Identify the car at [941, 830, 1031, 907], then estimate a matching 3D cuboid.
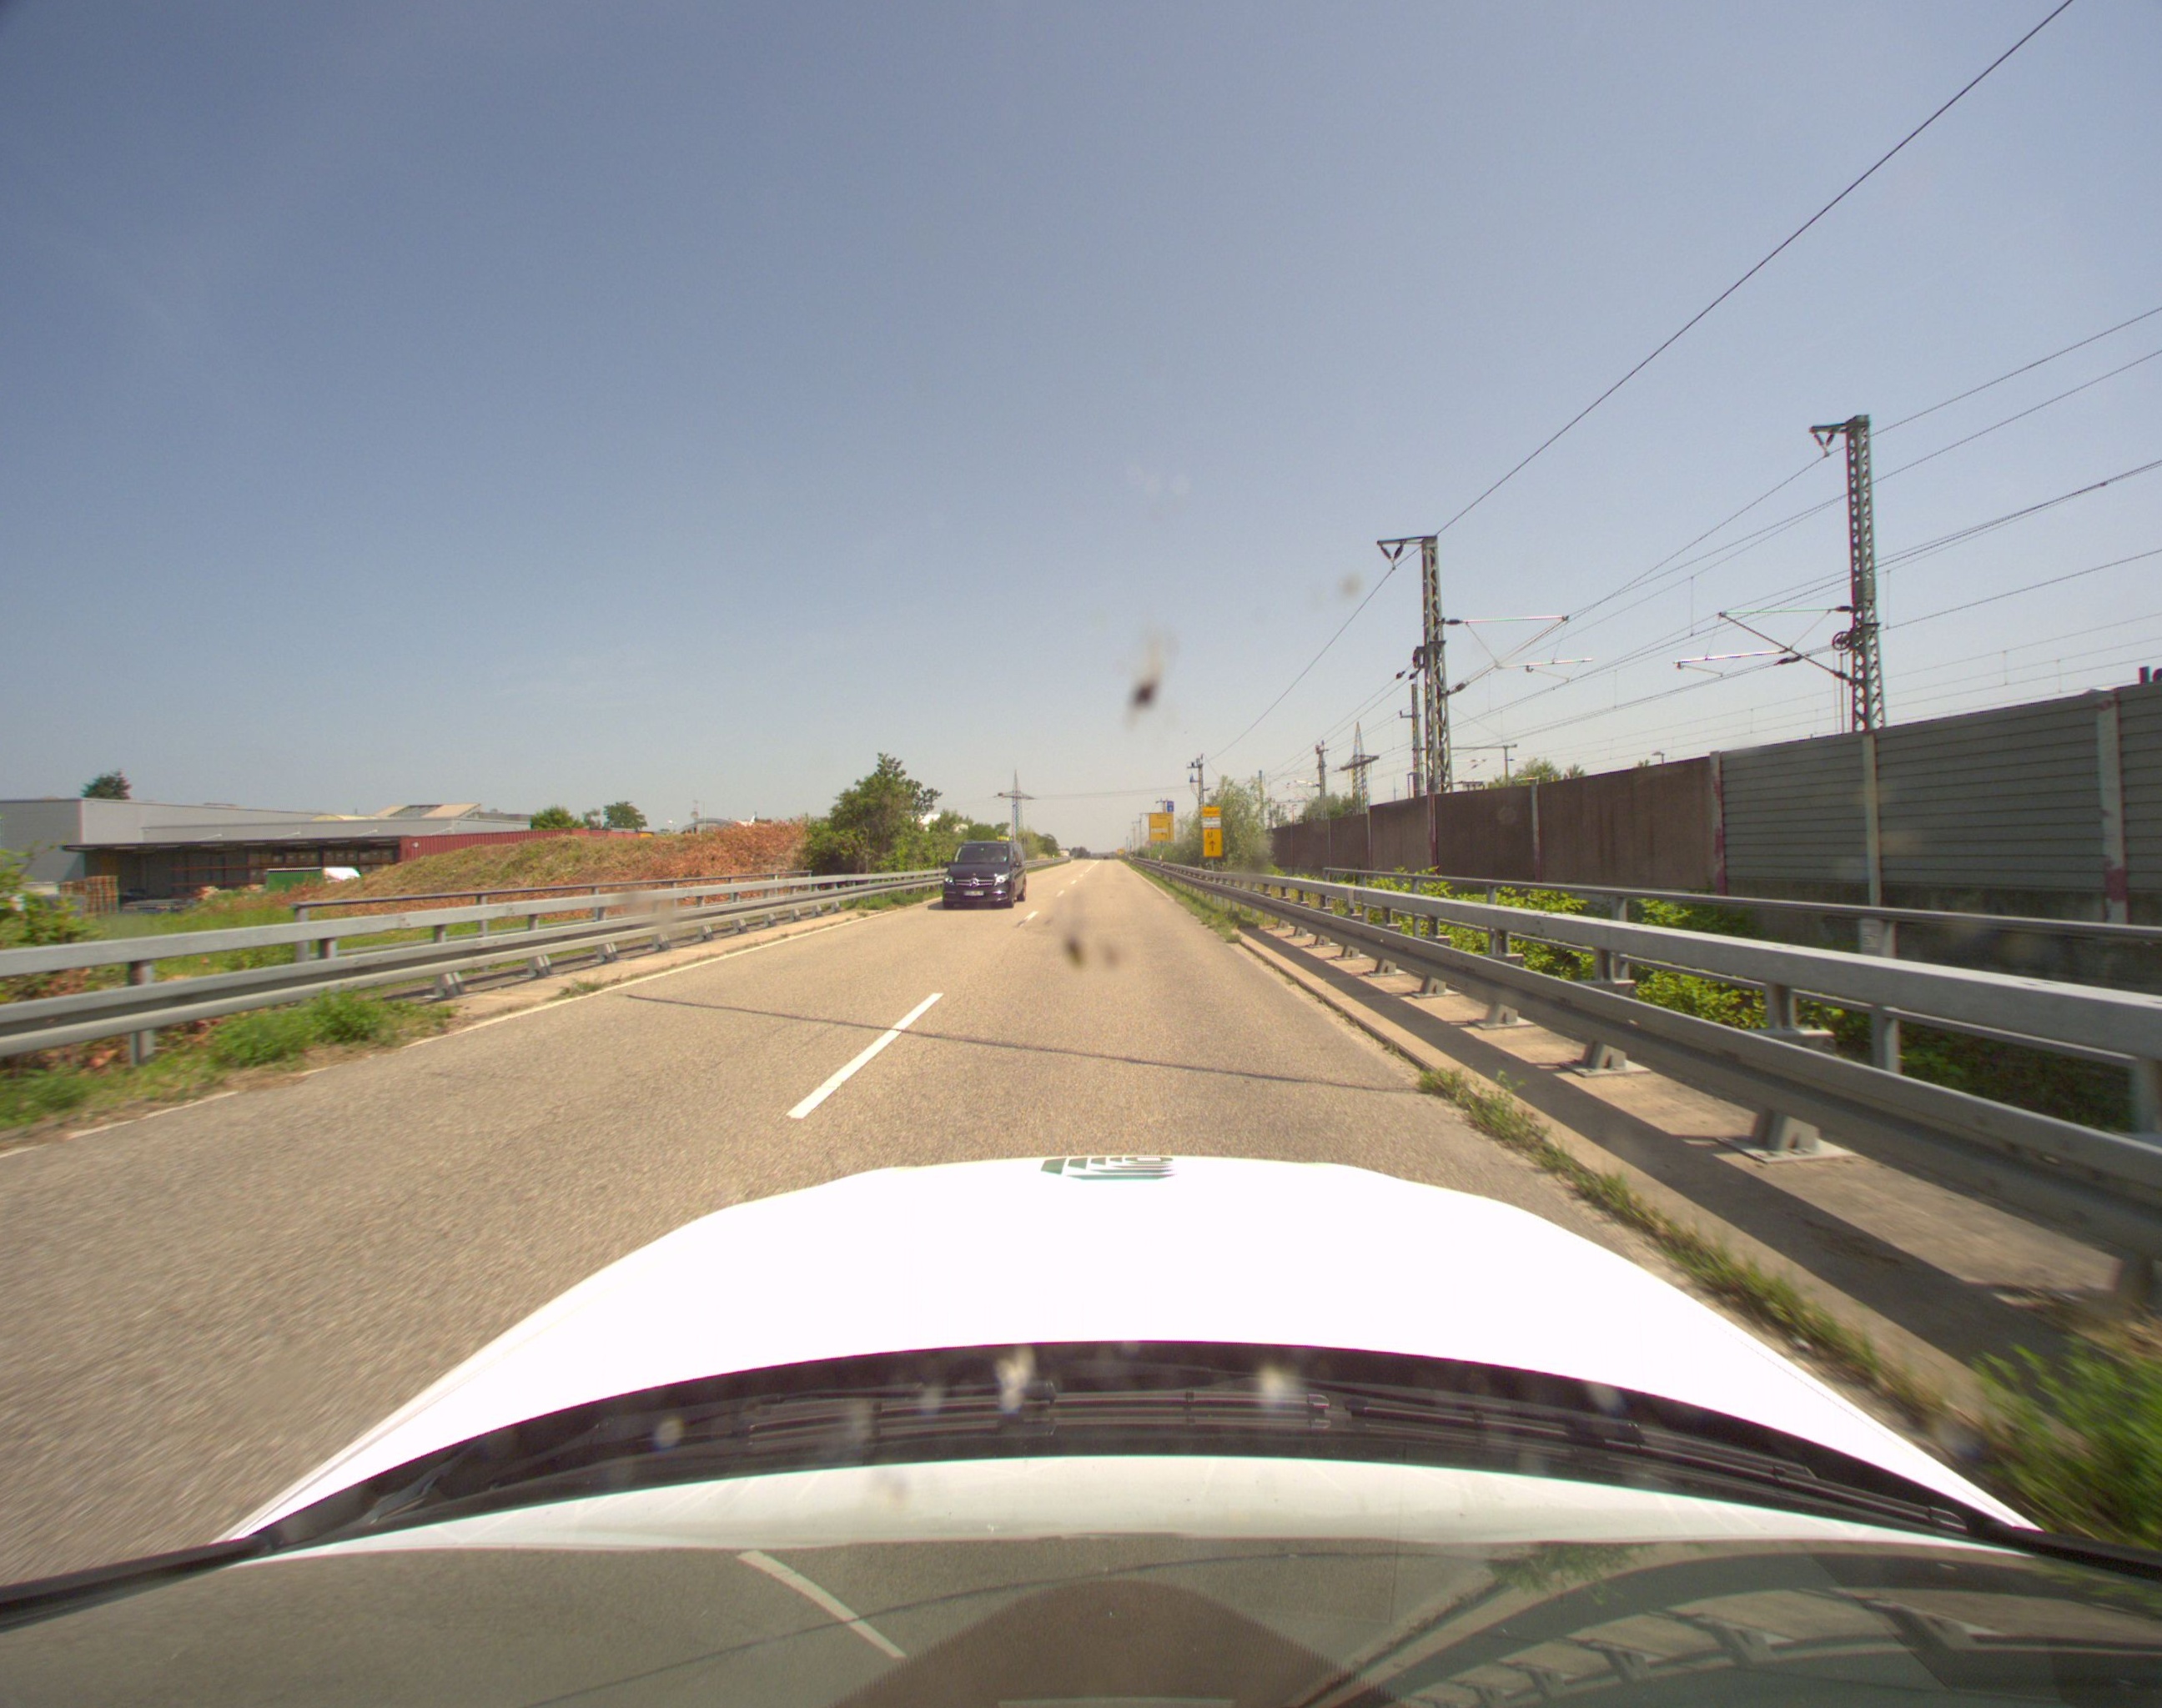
[{"bbox_3d":[-2.661,0.376,24.082,1.886,2.013,5.371,0,0,1],"label":"car"}]
